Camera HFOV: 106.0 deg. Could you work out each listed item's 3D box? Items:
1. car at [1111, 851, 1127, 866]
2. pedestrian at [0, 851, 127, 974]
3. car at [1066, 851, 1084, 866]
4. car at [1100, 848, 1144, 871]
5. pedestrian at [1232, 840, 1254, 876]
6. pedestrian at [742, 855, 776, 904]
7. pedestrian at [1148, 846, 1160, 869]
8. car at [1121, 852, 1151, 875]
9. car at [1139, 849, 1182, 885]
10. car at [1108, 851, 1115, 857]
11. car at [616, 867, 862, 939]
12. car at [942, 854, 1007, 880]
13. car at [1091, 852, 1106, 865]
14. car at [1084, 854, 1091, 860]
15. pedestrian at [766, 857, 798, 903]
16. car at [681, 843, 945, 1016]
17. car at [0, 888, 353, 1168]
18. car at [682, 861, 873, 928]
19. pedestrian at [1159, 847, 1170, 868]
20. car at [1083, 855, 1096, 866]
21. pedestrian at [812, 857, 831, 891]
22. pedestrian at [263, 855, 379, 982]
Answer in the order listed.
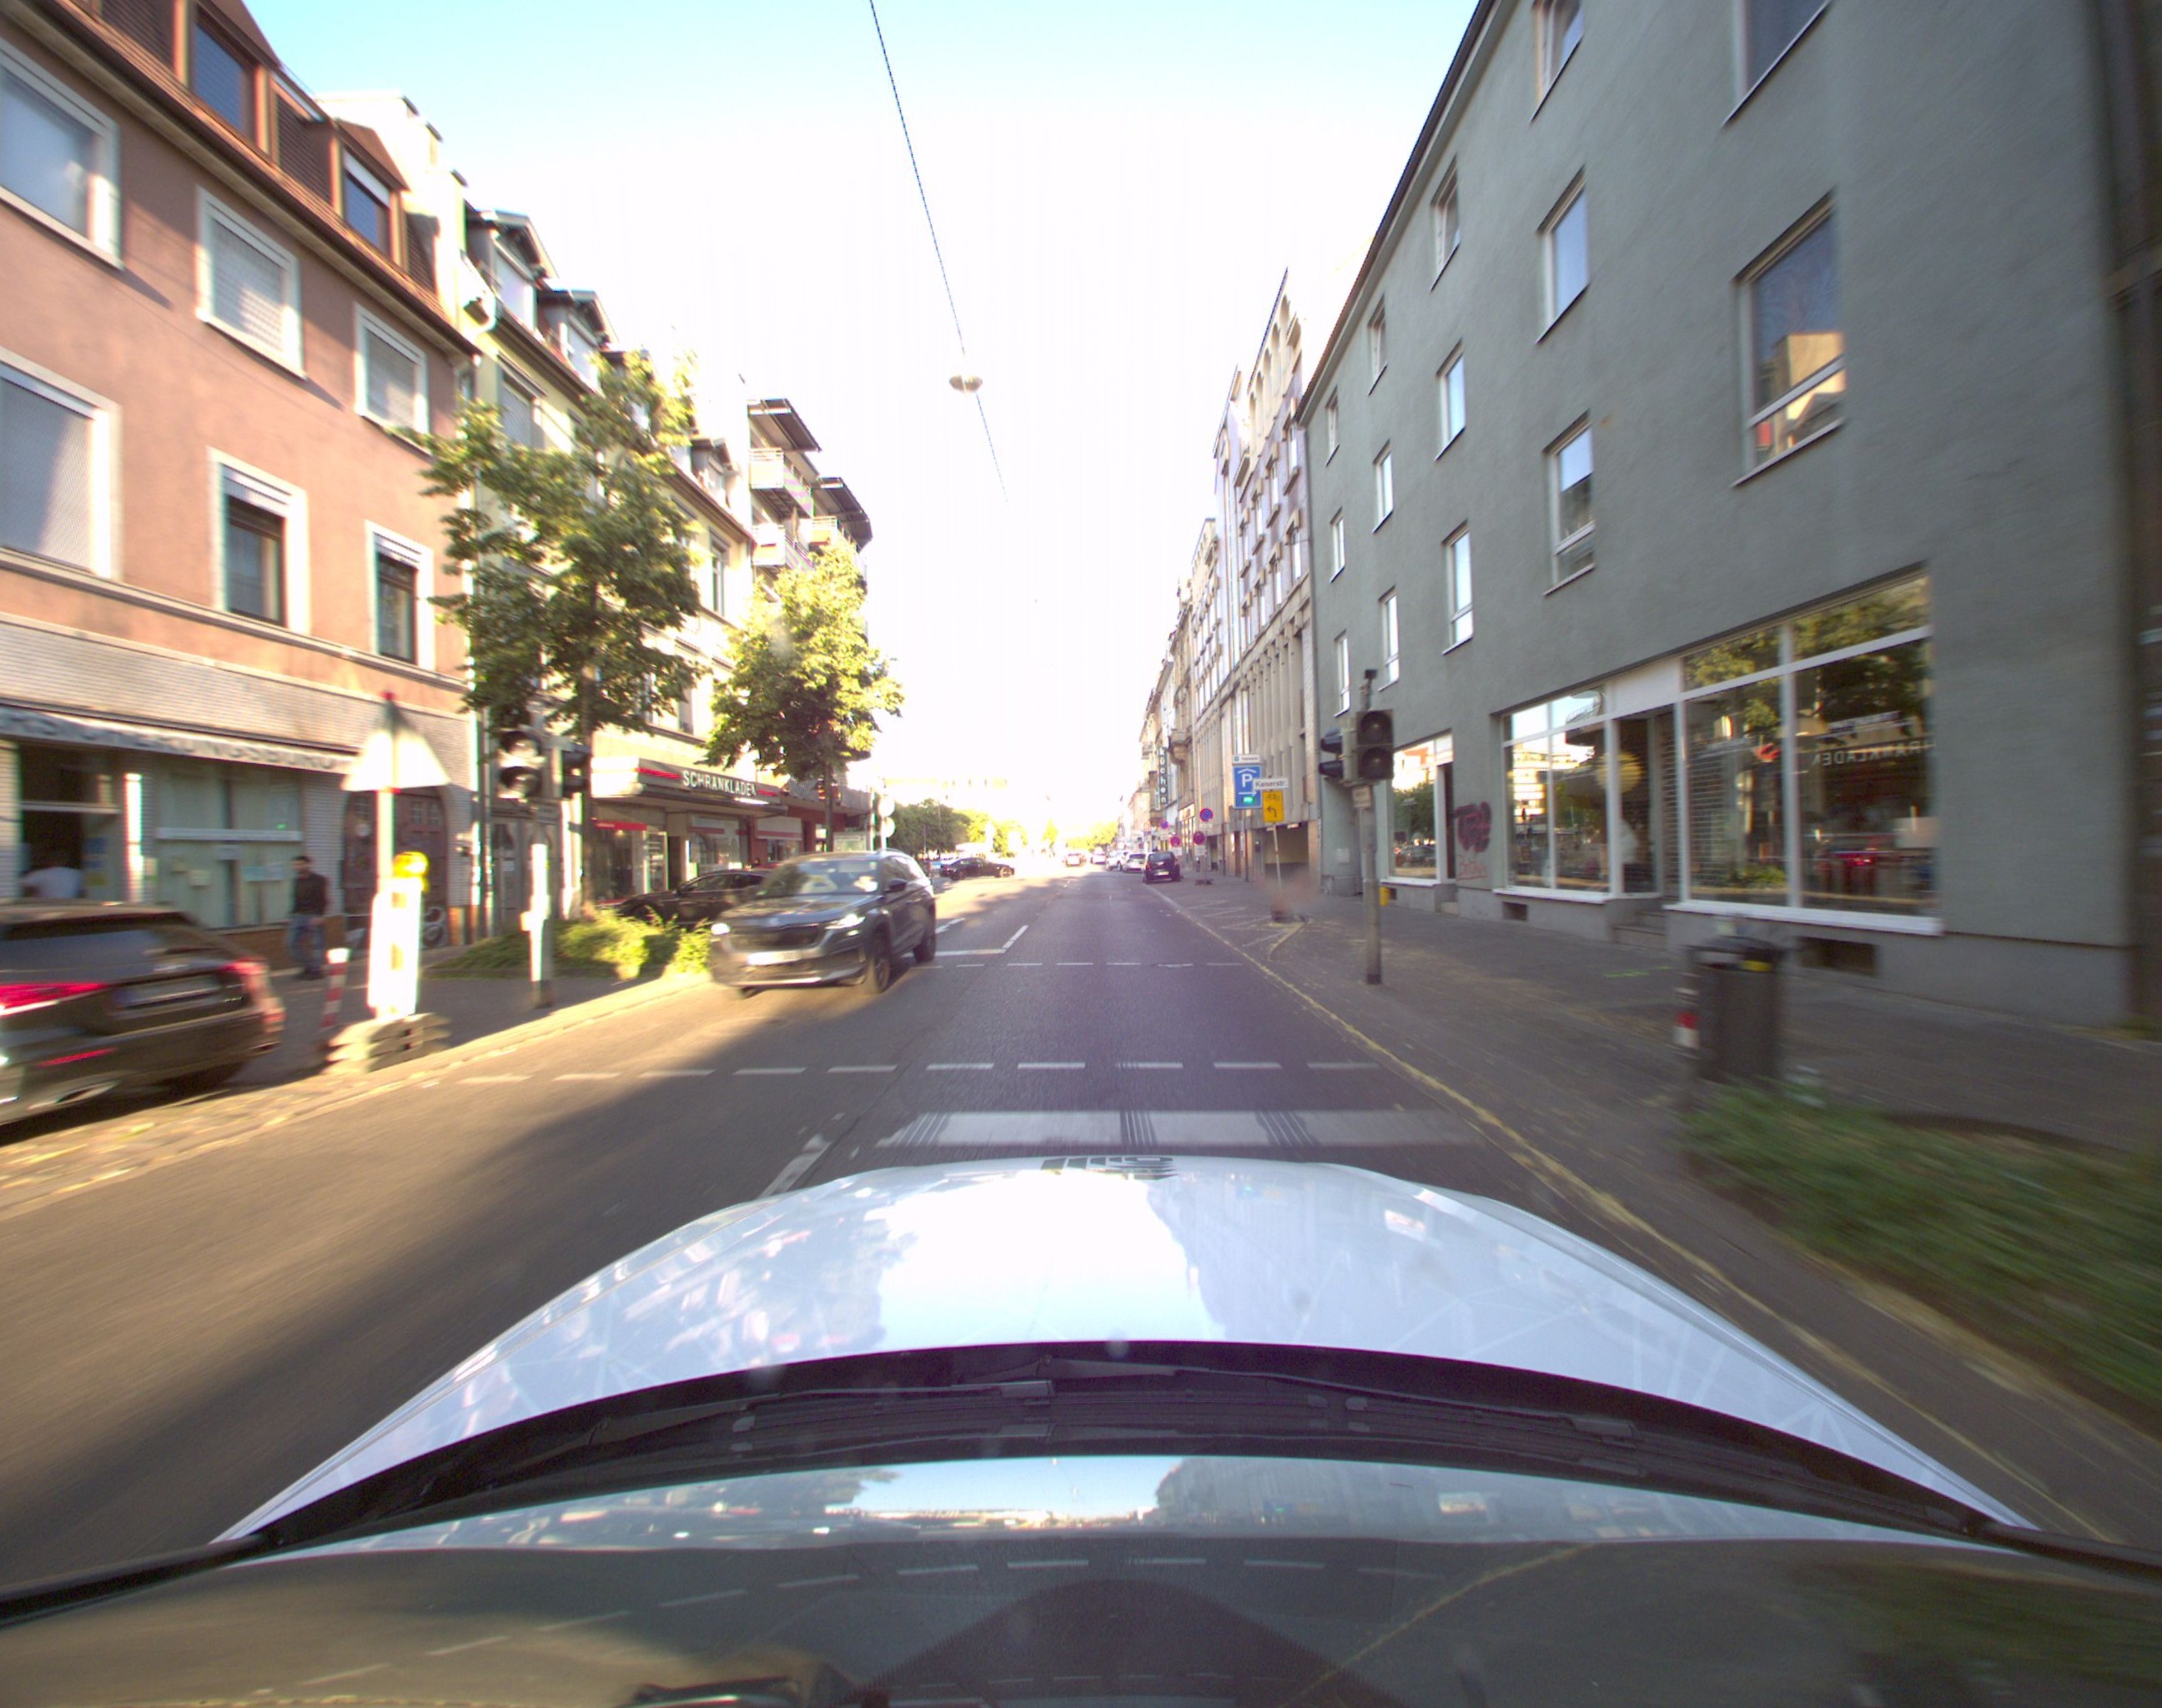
[{"bbox_3d":[4.312,0.488,93.094,1.724,1.650,4.284,0,0,1],"label":"car"},{"bbox_3d":[-13.239,0.737,10.577,0.865,1.518,0.822,-1,-2,21],"label":"pedestrian"},{"bbox_3d":[-0.642,0.517,92.309,1.890,1.649,4.104,-1,0,1],"label":"car"},{"bbox_3d":[3.333,0.473,67.308,2.001,1.761,4.434,-2,0,-21],"label":"car"},{"bbox_3d":[7.327,0.179,36.832,0.610,1.599,0.764,-1,0,-41],"label":"pedestrian"},{"bbox_3d":[-10.789,0.860,27.299,0.769,1.608,0.876,-1,-2,1],"label":"pedestrian"},{"bbox_3d":[6.026,0.306,67.174,0.770,1.827,1.010,-3,0,0],"label":"pedestrian"},{"bbox_3d":[3.920,0.686,58.881,1.754,1.536,4.819,0,-1,-1],"label":"car"},{"bbox_3d":[3.891,0.607,40.260,1.752,1.536,4.002,-5,0,2],"label":"car"},{"bbox_3d":[7.905,0.015,211.338,1.890,1.581,3.852,-2,0,1],"label":"car"},{"bbox_3d":[-7.317,1.021,17.755,4.556,1.407,1.821,-1,0,-1],"label":"car"},{"bbox_3d":[-6.882,0.808,52.361,3.992,1.581,1.894,0,0,-14],"label":"car"},{"bbox_3d":[2.259,0.583,107.133,1.890,1.581,4.000,0,0,1],"label":"car"},{"bbox_3d":[1.611,0.721,215.741,1.773,1.547,4.000,-1,0,0],"label":"car"},{"bbox_3d":[-10.027,0.874,27.346,0.731,1.528,0.876,-1,-2,1],"label":"pedestrian"},{"bbox_3d":[-3.147,0.752,10.662,1.855,1.692,4.461,-2,1,1],"label":"car"},{"bbox_3d":[-7.589,0.987,5.197,4.095,1.403,1.883,-1,0,-2],"label":"car"},{"bbox_3d":[-7.545,0.986,20.511,4.058,1.536,1.884,-1,0,1],"label":"car"},{"bbox_3d":[6.899,0.264,67.242,0.770,1.711,1.042,-3,0,0],"label":"pedestrian"},{"bbox_3d":[1.229,0.922,120.563,1.890,1.581,3.852,1,0,1],"label":"car"},{"bbox_3d":[-12.476,0.947,39.134,0.594,1.595,0.702,-3,-2,2],"label":"pedestrian"},{"bbox_3d":[-10.737,0.885,11.542,0.769,1.721,0.876,-1,-2,1],"label":"pedestrian"}]
